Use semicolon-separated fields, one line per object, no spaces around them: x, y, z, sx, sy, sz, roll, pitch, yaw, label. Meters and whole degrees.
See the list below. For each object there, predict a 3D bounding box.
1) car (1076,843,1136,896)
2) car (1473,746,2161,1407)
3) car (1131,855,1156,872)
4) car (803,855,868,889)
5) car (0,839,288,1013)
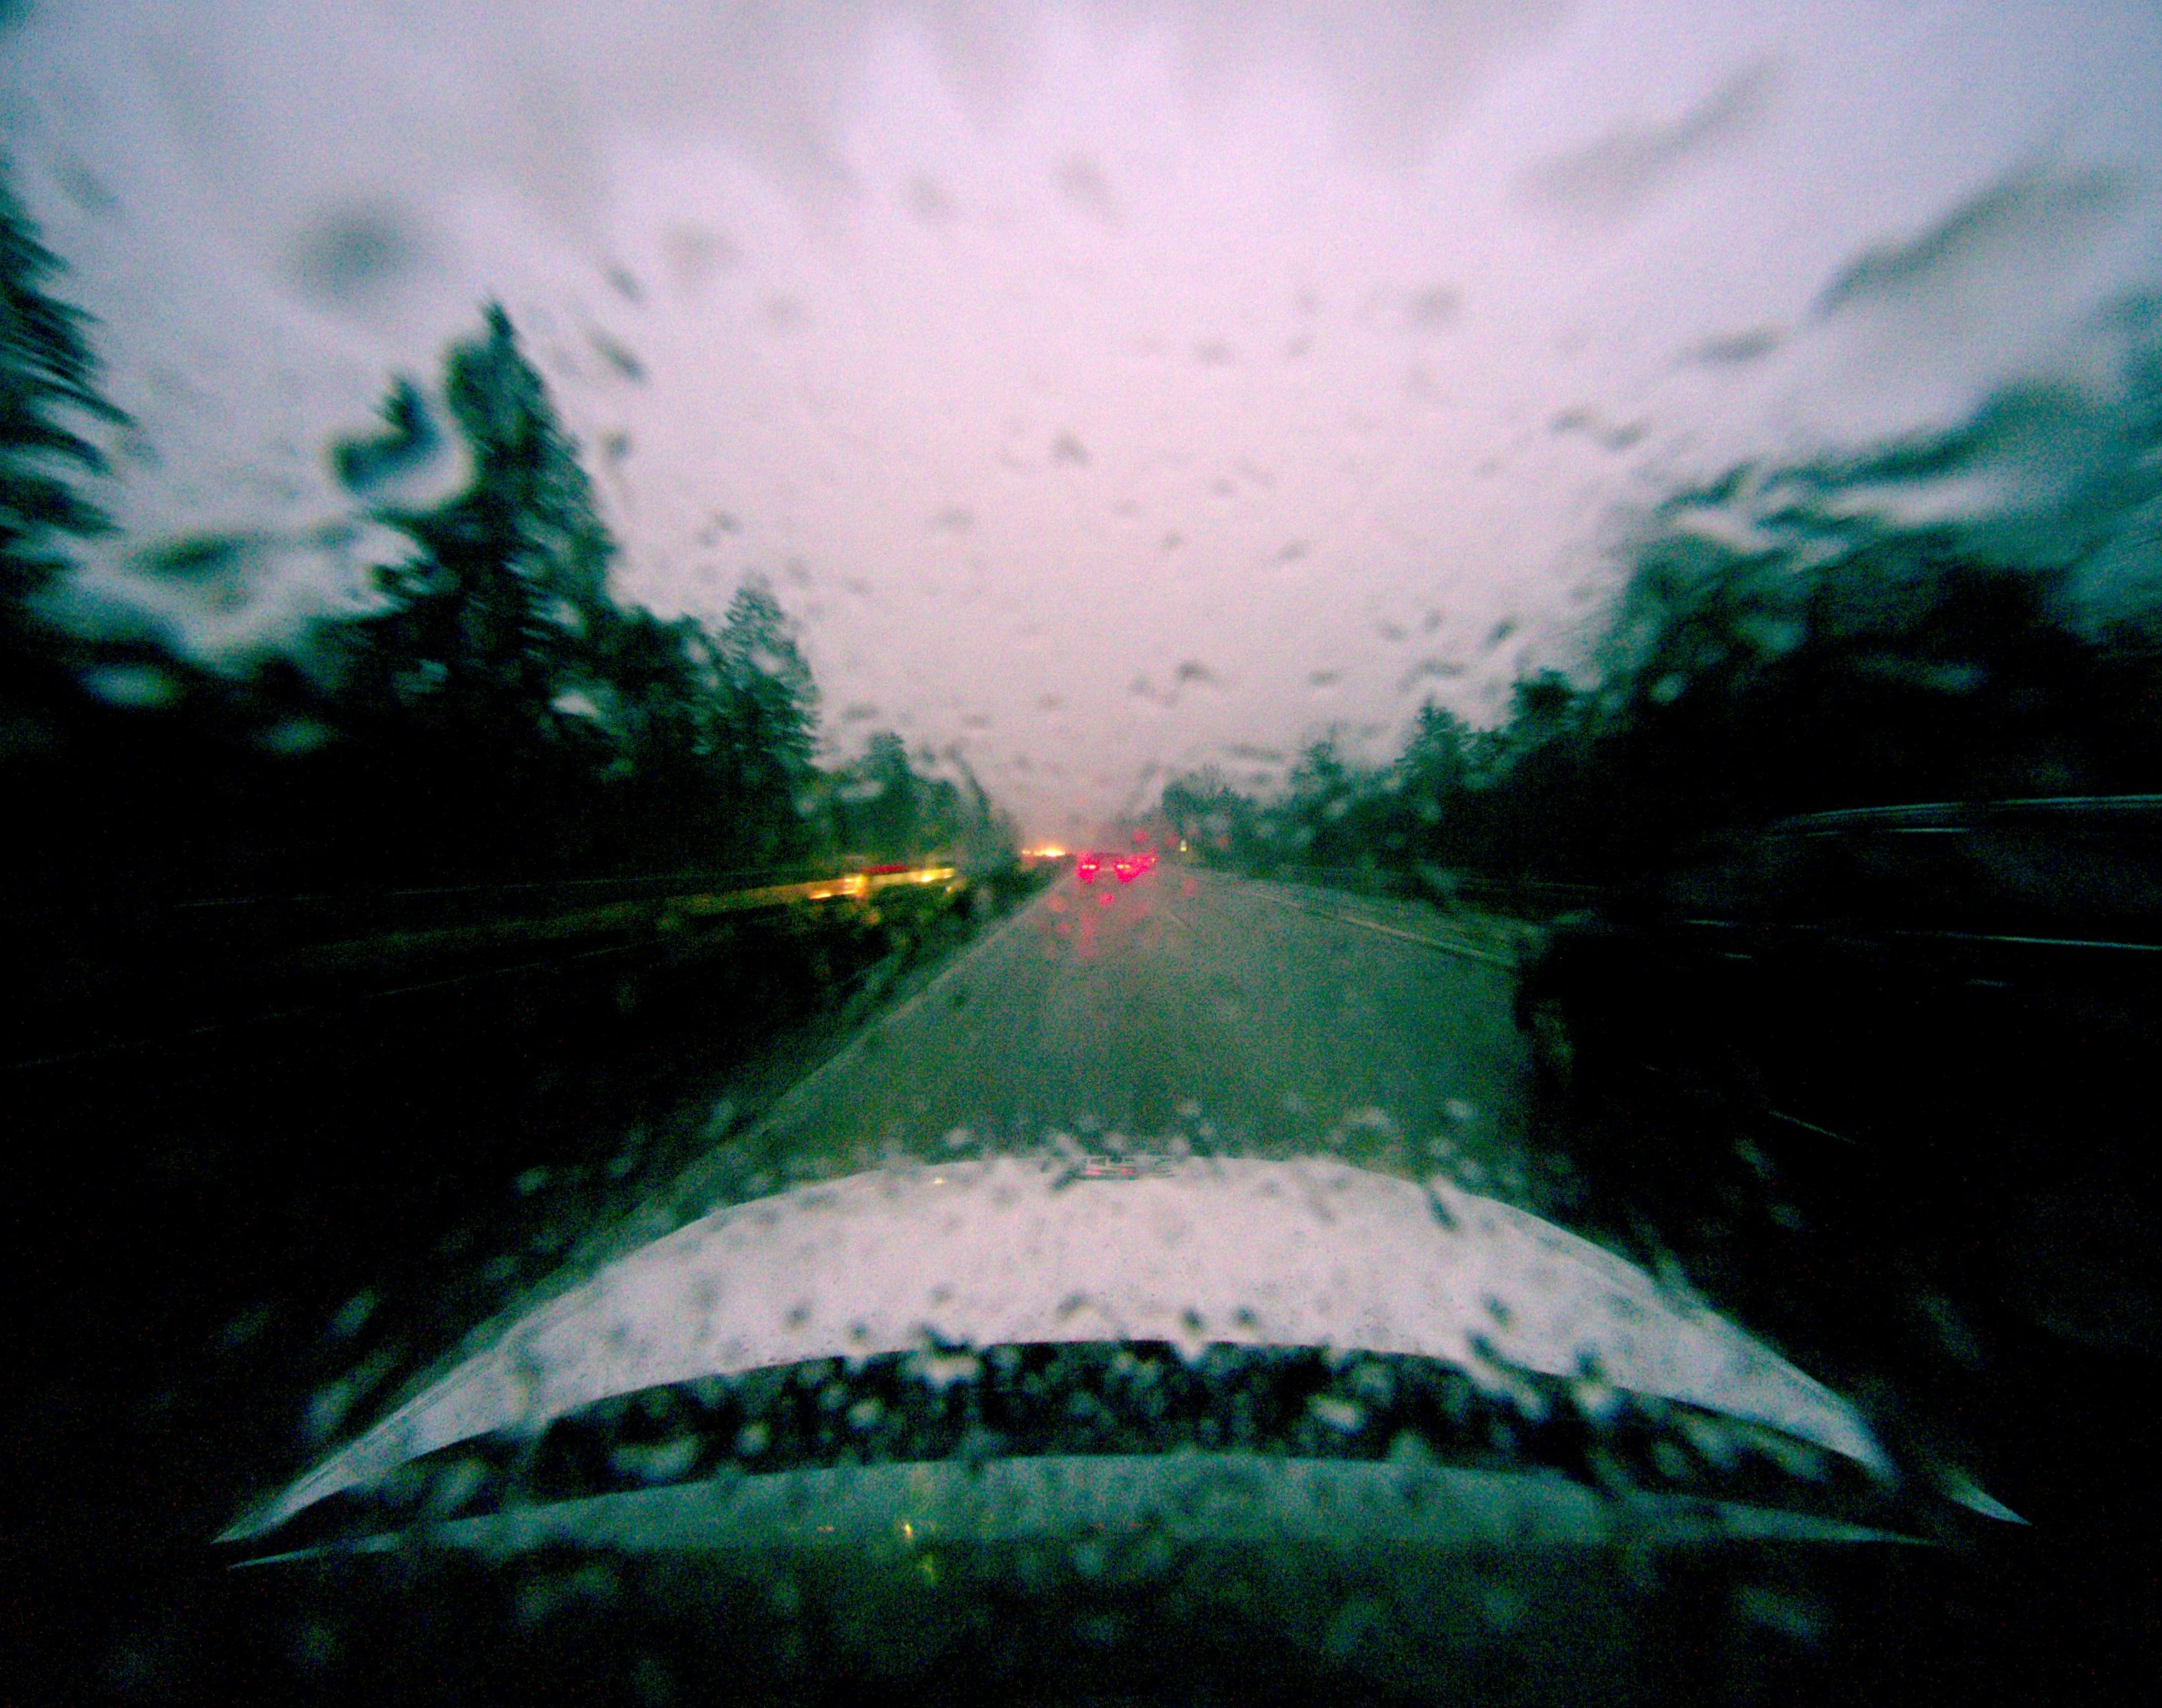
0.938;0.529;29.755;1.978;1.767;4.176;-1;0;2;car
3.842;0.554;3.697;2.063;1.697;4.462;-1;0;1;car
5.431;0.788;70.994;1.775;1.437;3.535;-1;0;-1;car
-11.334;0.799;37.816;1.788;1.440;4.041;-1;0;-1;car
-11.399;0.714;8.725;1.806;1.691;4.001;-1;0;1;car
